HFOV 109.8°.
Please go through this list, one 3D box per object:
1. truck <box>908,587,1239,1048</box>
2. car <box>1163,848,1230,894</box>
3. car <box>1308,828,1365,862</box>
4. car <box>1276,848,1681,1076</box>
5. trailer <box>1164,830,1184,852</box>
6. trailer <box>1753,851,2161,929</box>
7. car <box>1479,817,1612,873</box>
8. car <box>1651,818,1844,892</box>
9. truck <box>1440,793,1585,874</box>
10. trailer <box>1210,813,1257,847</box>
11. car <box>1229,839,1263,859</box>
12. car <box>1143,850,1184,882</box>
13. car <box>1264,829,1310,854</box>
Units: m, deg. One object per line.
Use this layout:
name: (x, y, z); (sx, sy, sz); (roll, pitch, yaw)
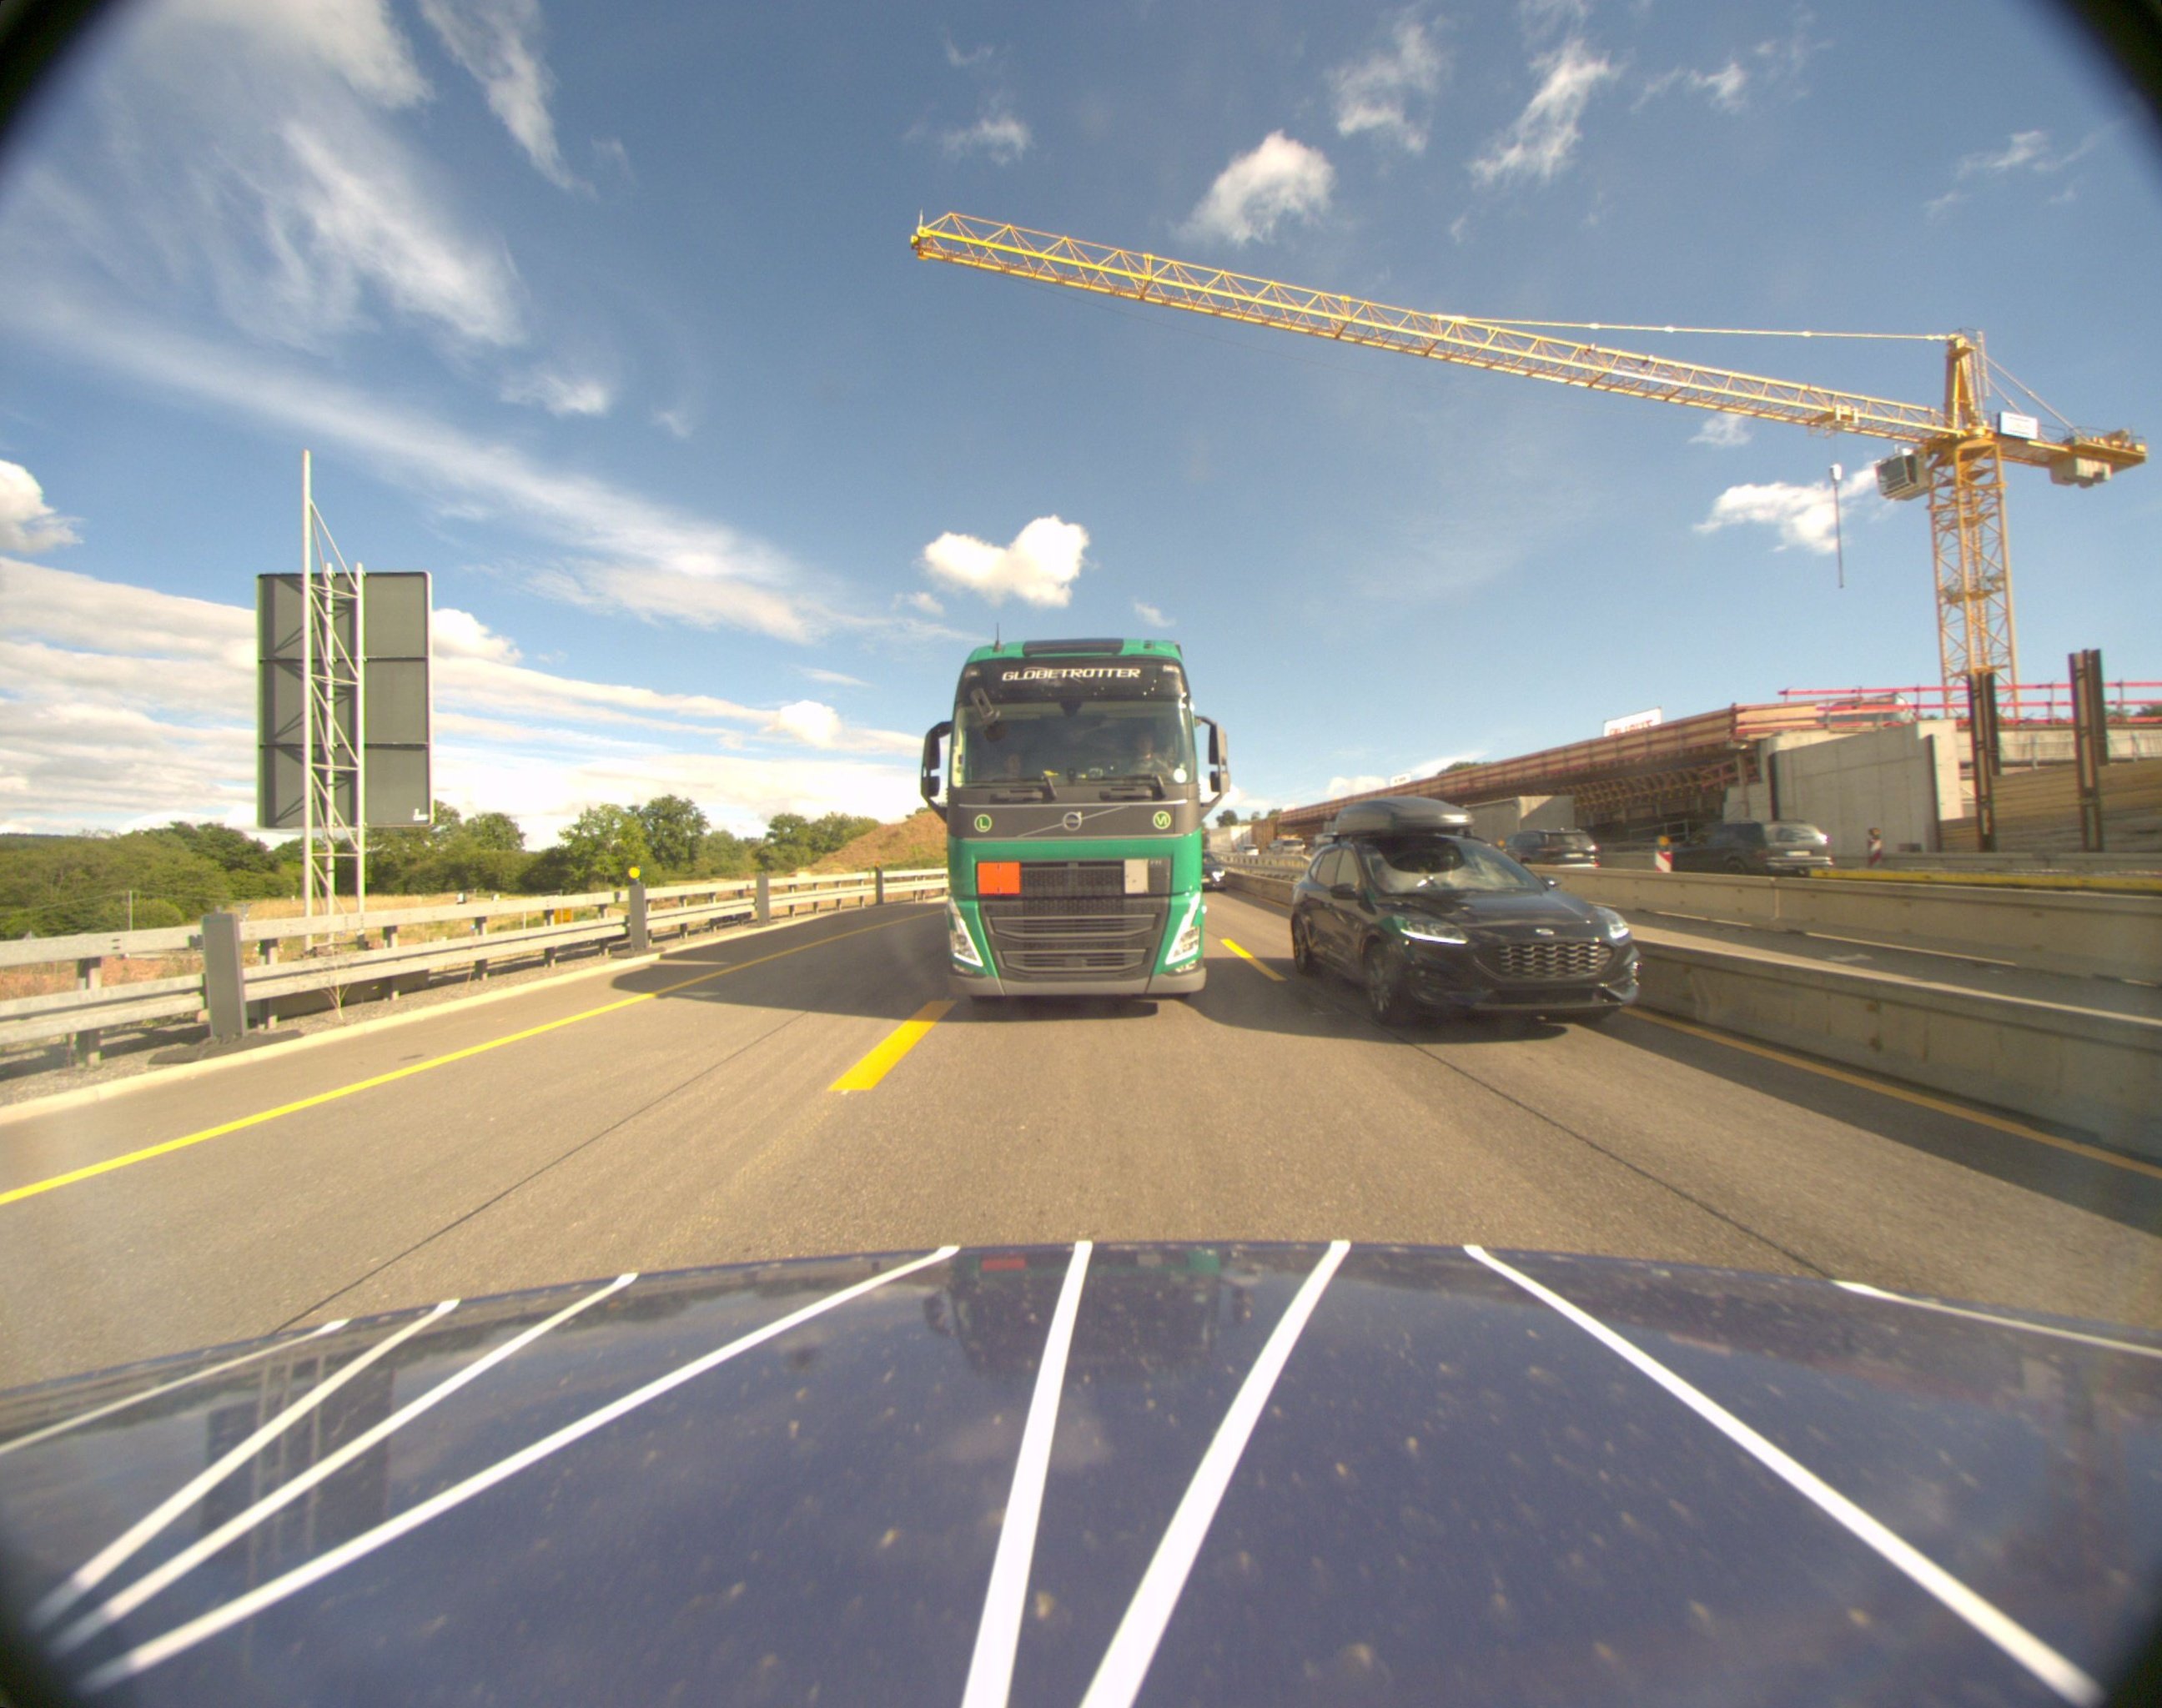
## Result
truck: (-0.026, -0.403, 11.652); (2.663, 3.826, 10.315); (-2, 1, 0)
car: (4.198, 0.558, 28.255); (1.806, 1.448, 4.659); (-2, 1, 1)
car: (19.360, -0.710, 57.863); (2.264, 2.389, 5.865); (-2, 1, -1)
car: (3.325, 0.739, 7.483); (1.804, 1.533, 4.384); (-2, 1, 2)
trailer: (18.883, -2.691, 155.134); (2.694, 4.132, 13.810); (-2, 1, 2)
trailer: (17.429, 0.534, 14.000); (2.356, 0.934, 10.334); (-2, 1, 9)
car: (15.276, -0.284, 25.338); (1.856, 1.626, 4.750); (-2, 0, 6)
car: (18.400, -0.031, 21.312); (1.997, 1.794, 4.446); (-2, 1, 9)
truck: (19.787, -0.938, 35.476); (2.707, 3.293, 7.537); (-2, 1, 3)
trailer: (18.872, -2.920, 95.126); (2.828, 3.819, 13.798); (-2, 1, -1)
car: (15.609, -0.462, 72.247); (2.131, 1.664, 4.272); (-5, 0, 0)
car: (4.569, 0.631, 42.630); (1.806, 1.555, 4.561); (-2, 1, 0)
car: (16.115, -0.944, 59.682); (2.131, 1.755, 5.030); (-2, 0, 0)
